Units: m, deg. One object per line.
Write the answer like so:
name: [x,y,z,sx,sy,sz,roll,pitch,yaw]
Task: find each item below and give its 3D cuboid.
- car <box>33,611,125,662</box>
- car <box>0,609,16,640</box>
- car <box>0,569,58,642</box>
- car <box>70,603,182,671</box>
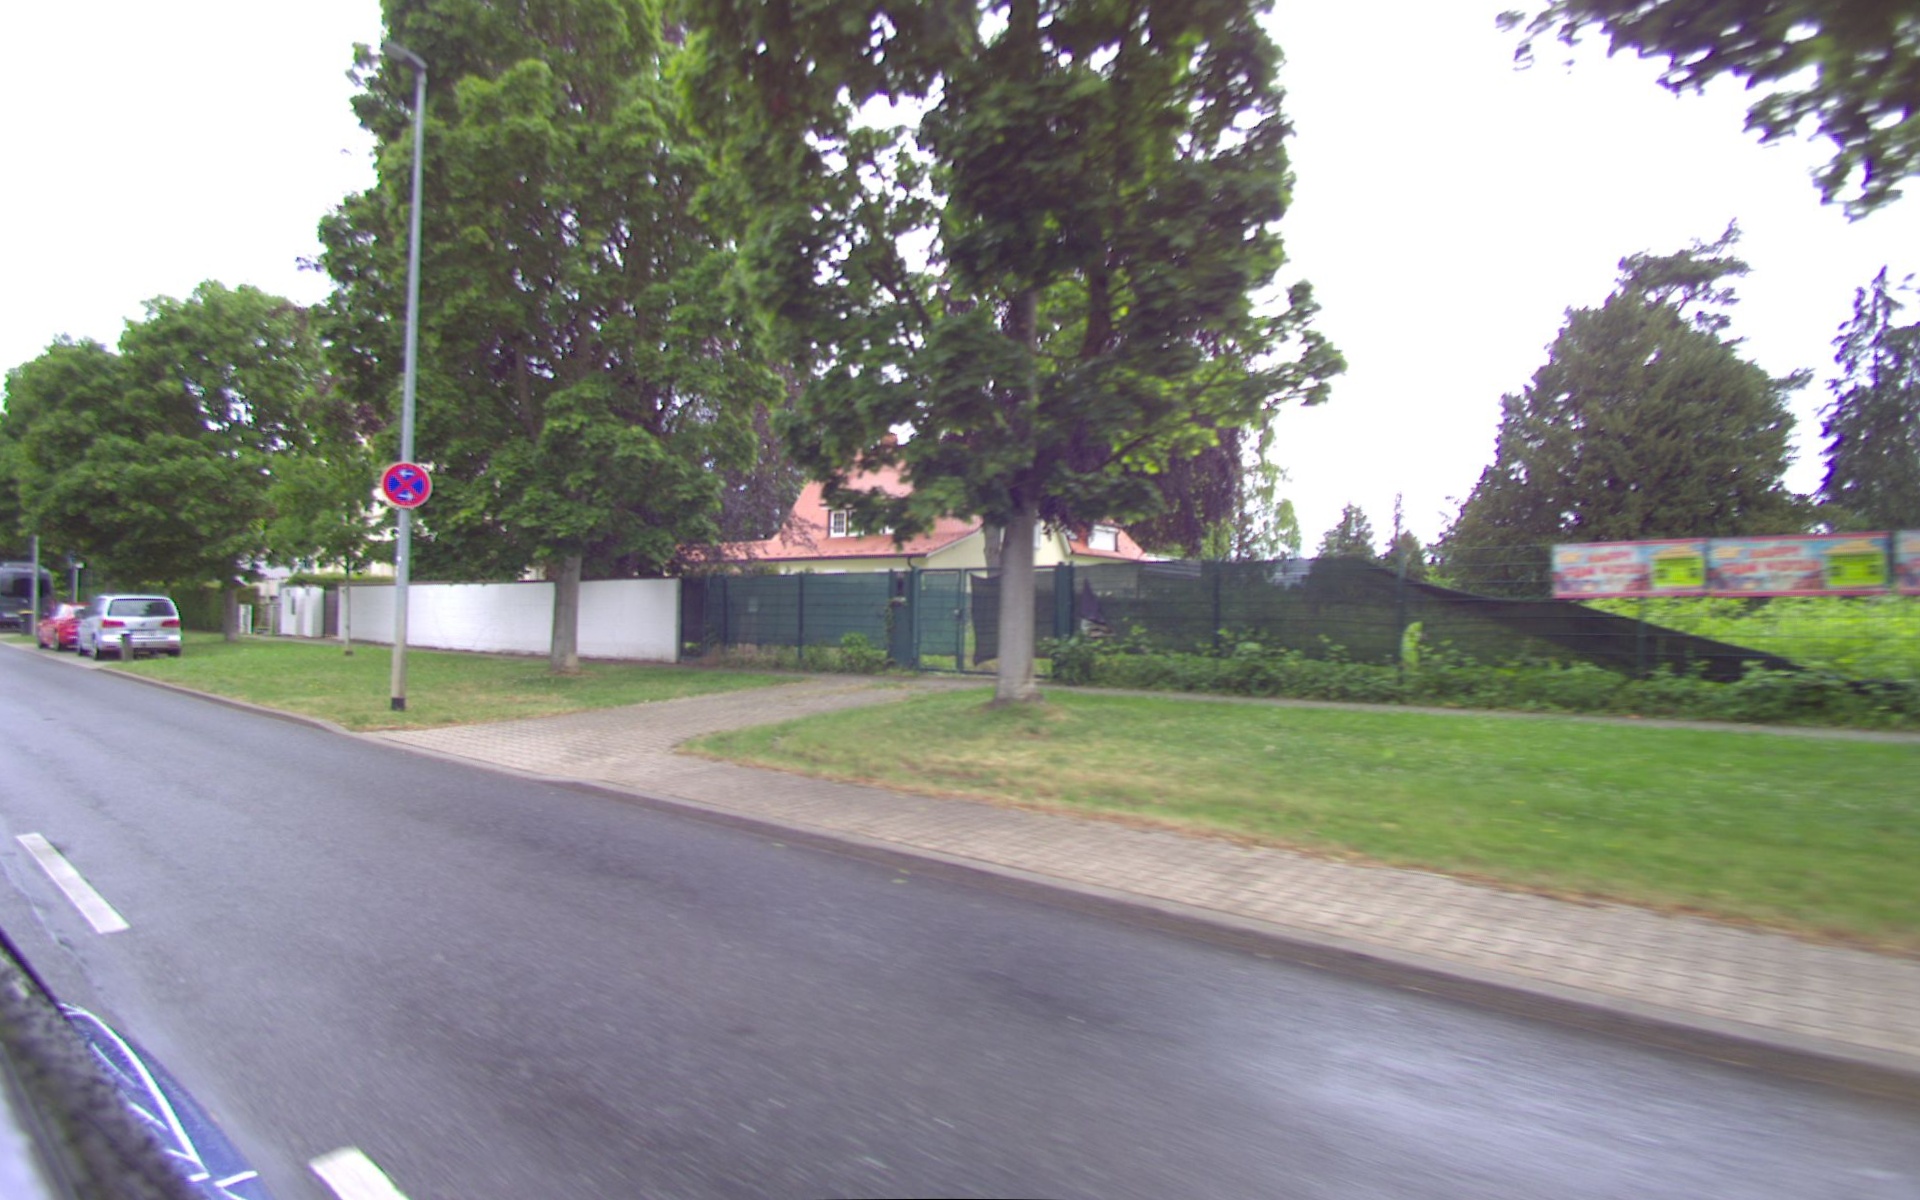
car: [-25.864,1.020,29.666,3.843,1.334,1.683,-1,1,44]
car: [-44.166,1.124,45.910,3.843,1.334,1.683,-1,1,43]
car: [-39.000,0.209,41.767,5.045,2.860,2.217,0,0,44]
car: [-21.712,0.918,26.298,4.001,1.619,1.751,-1,-1,44]
